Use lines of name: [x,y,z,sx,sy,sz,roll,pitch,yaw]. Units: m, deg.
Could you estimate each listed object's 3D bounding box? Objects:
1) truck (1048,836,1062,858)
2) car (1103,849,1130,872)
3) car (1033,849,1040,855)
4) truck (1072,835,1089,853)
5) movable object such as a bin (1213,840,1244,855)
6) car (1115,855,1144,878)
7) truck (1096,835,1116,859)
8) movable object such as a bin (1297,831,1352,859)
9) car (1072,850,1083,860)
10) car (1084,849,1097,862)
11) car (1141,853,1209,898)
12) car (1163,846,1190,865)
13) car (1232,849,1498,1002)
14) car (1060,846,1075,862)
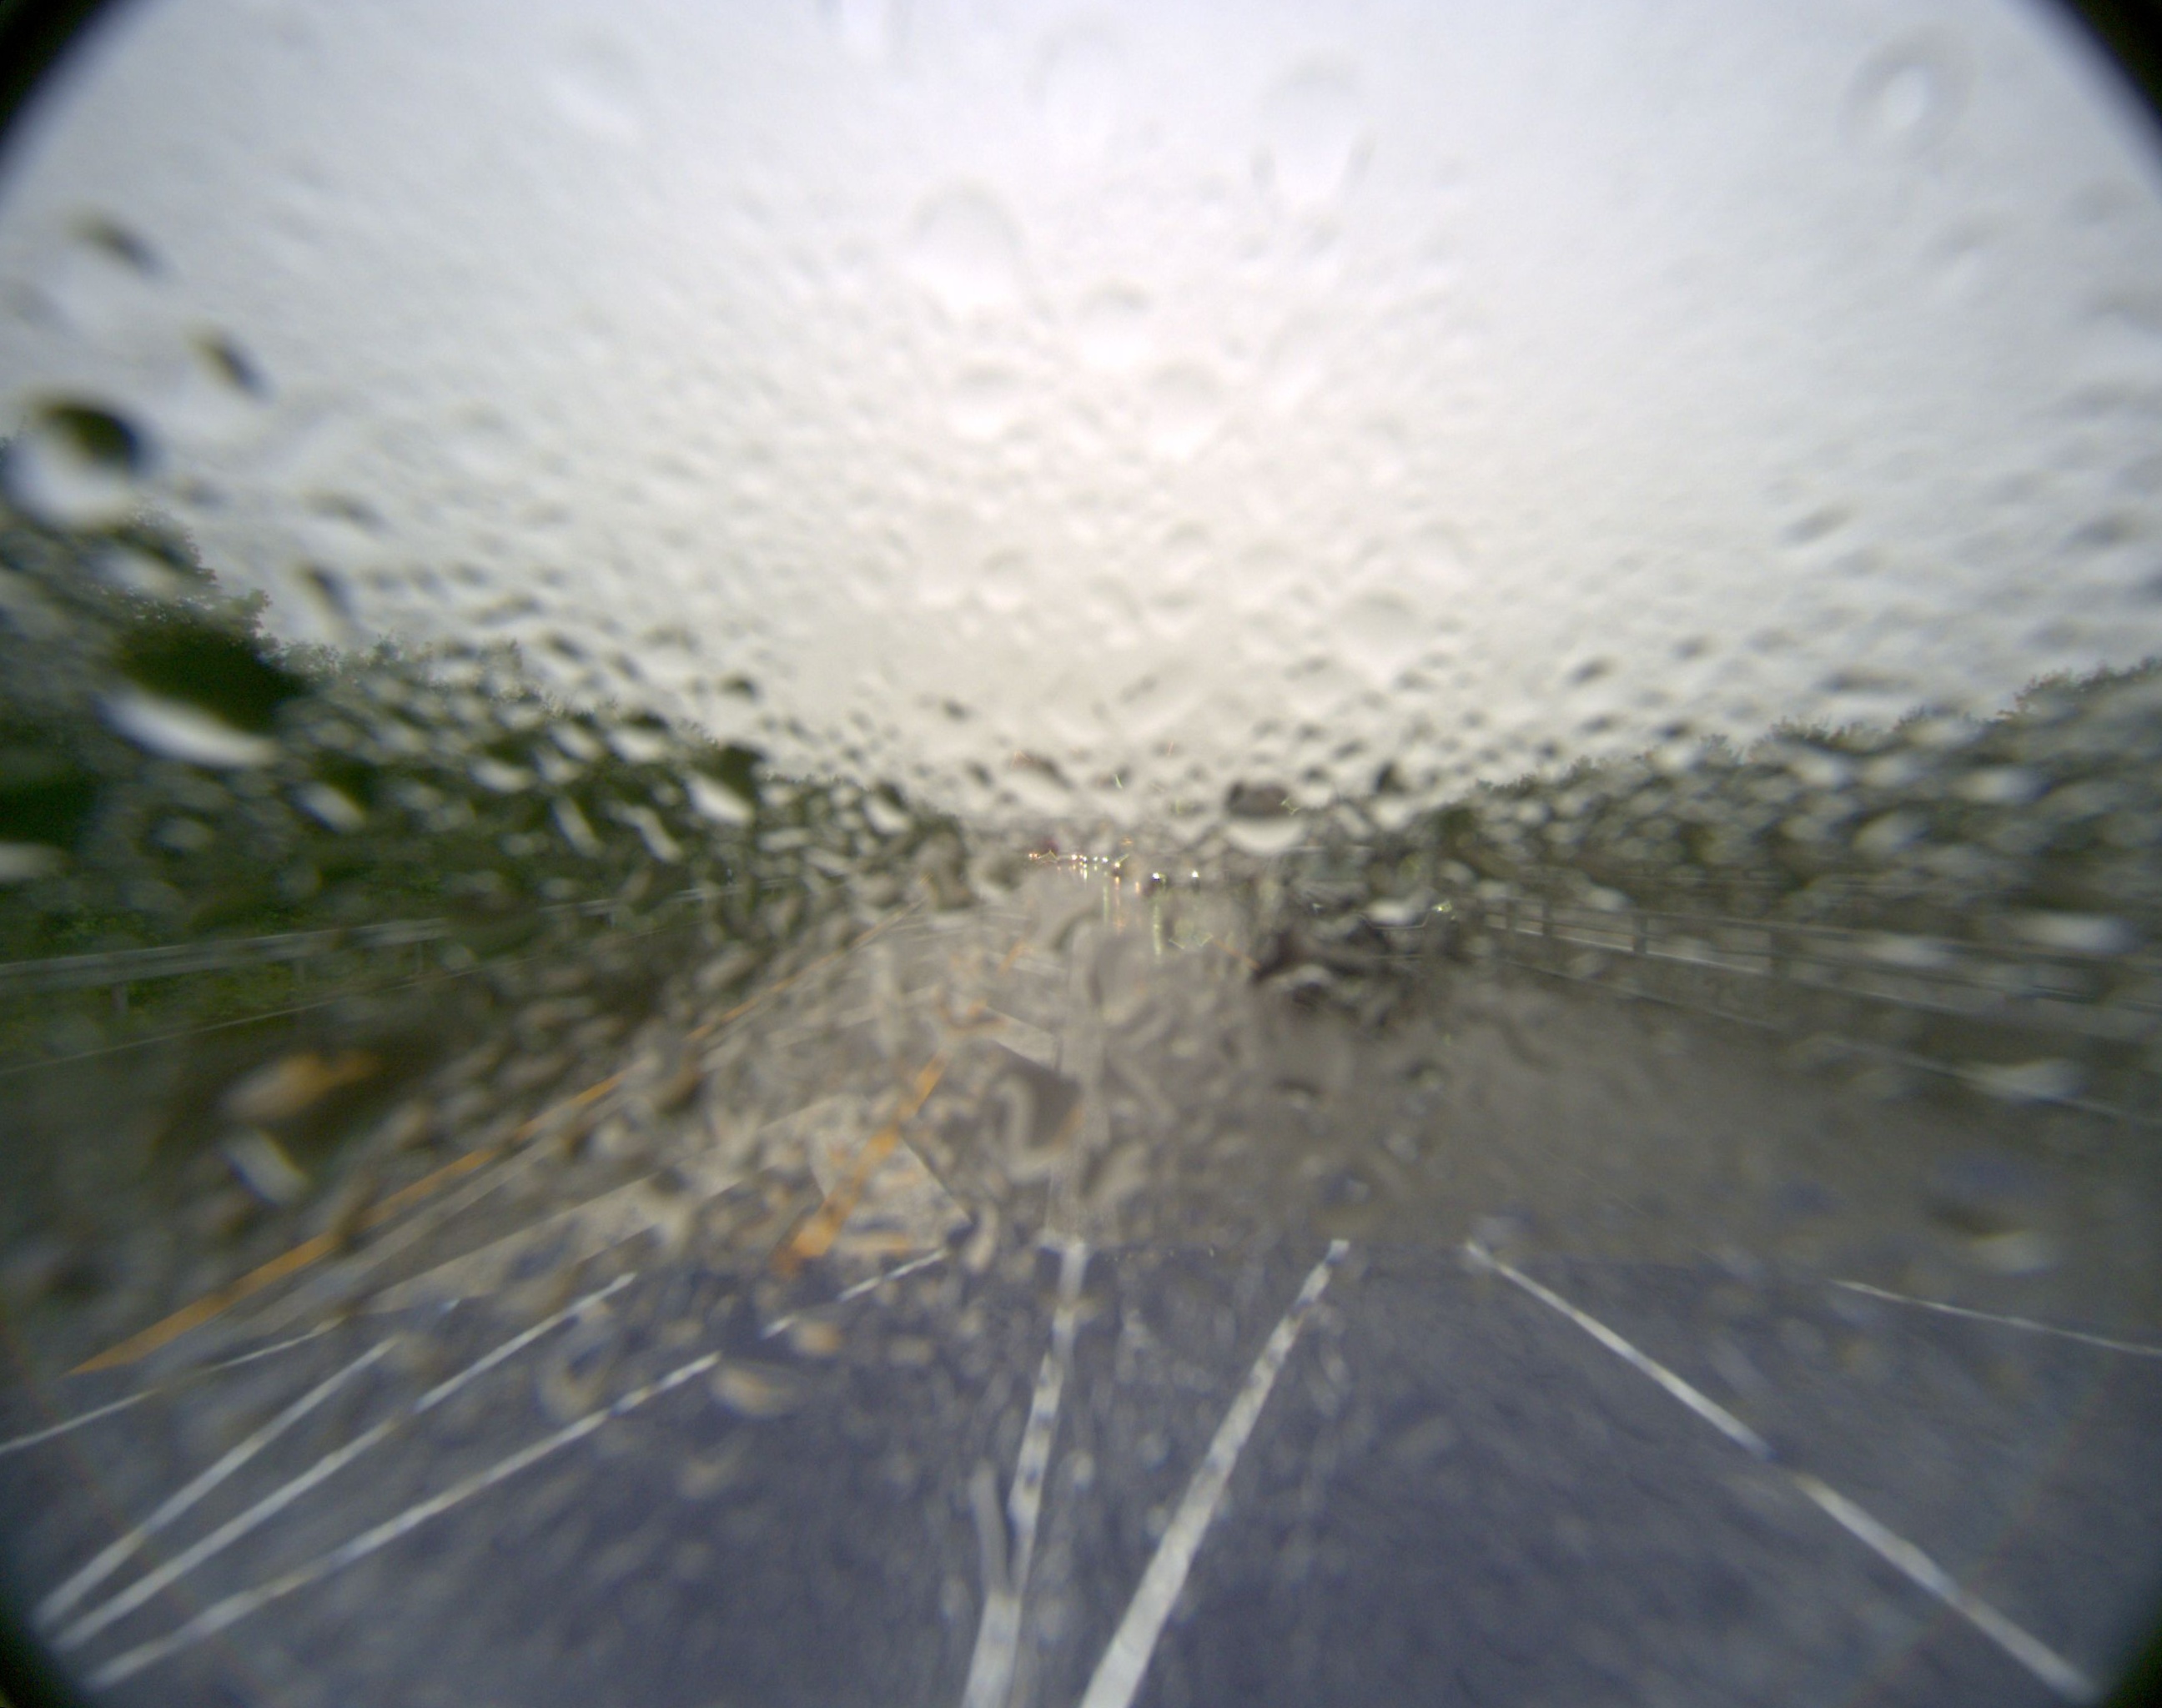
truck: [-5.052,-1.421,149.548,2.484,4.061,8.702,-2,1,-1]
car: [3.287,0.603,71.641,2.211,2.002,5.563,-2,1,-1]
car: [-13.745,-0.677,235.377,1.752,1.579,3.999,-2,1,-1]
truck: [-0.209,-2.892,218.508,3.284,4.808,15.977,-2,1,-4]
movable object such as a bin: [23.650,-1.063,121.917,3.448,2.281,5.097,-2,1,-7]
car: [3.459,0.920,55.043,1.978,1.586,4.310,-1,-1,3]
truck: [5.288,-1.439,162.140,3.283,4.808,15.982,-2,1,-1]
movable object such as a bin: [25.723,-0.928,80.560,3.774,2.782,6.329,-2,1,0]
car: [-0.574,0.201,134.532,1.845,1.586,3.999,-2,1,-1]
car: [1.349,0.220,108.664,1.695,1.740,3.999,-2,1,-1]
car: [3.500,0.763,29.213,1.998,1.489,4.630,-2,1,0]
car: [9.511,0.109,75.756,1.956,1.707,5.102,-2,1,-1]
car: [3.500,0.755,10.398,1.998,1.576,4.413,-2,1,1]
car: [-1.766,0.004,101.700,1.881,2.002,3.999,-2,1,-1]
